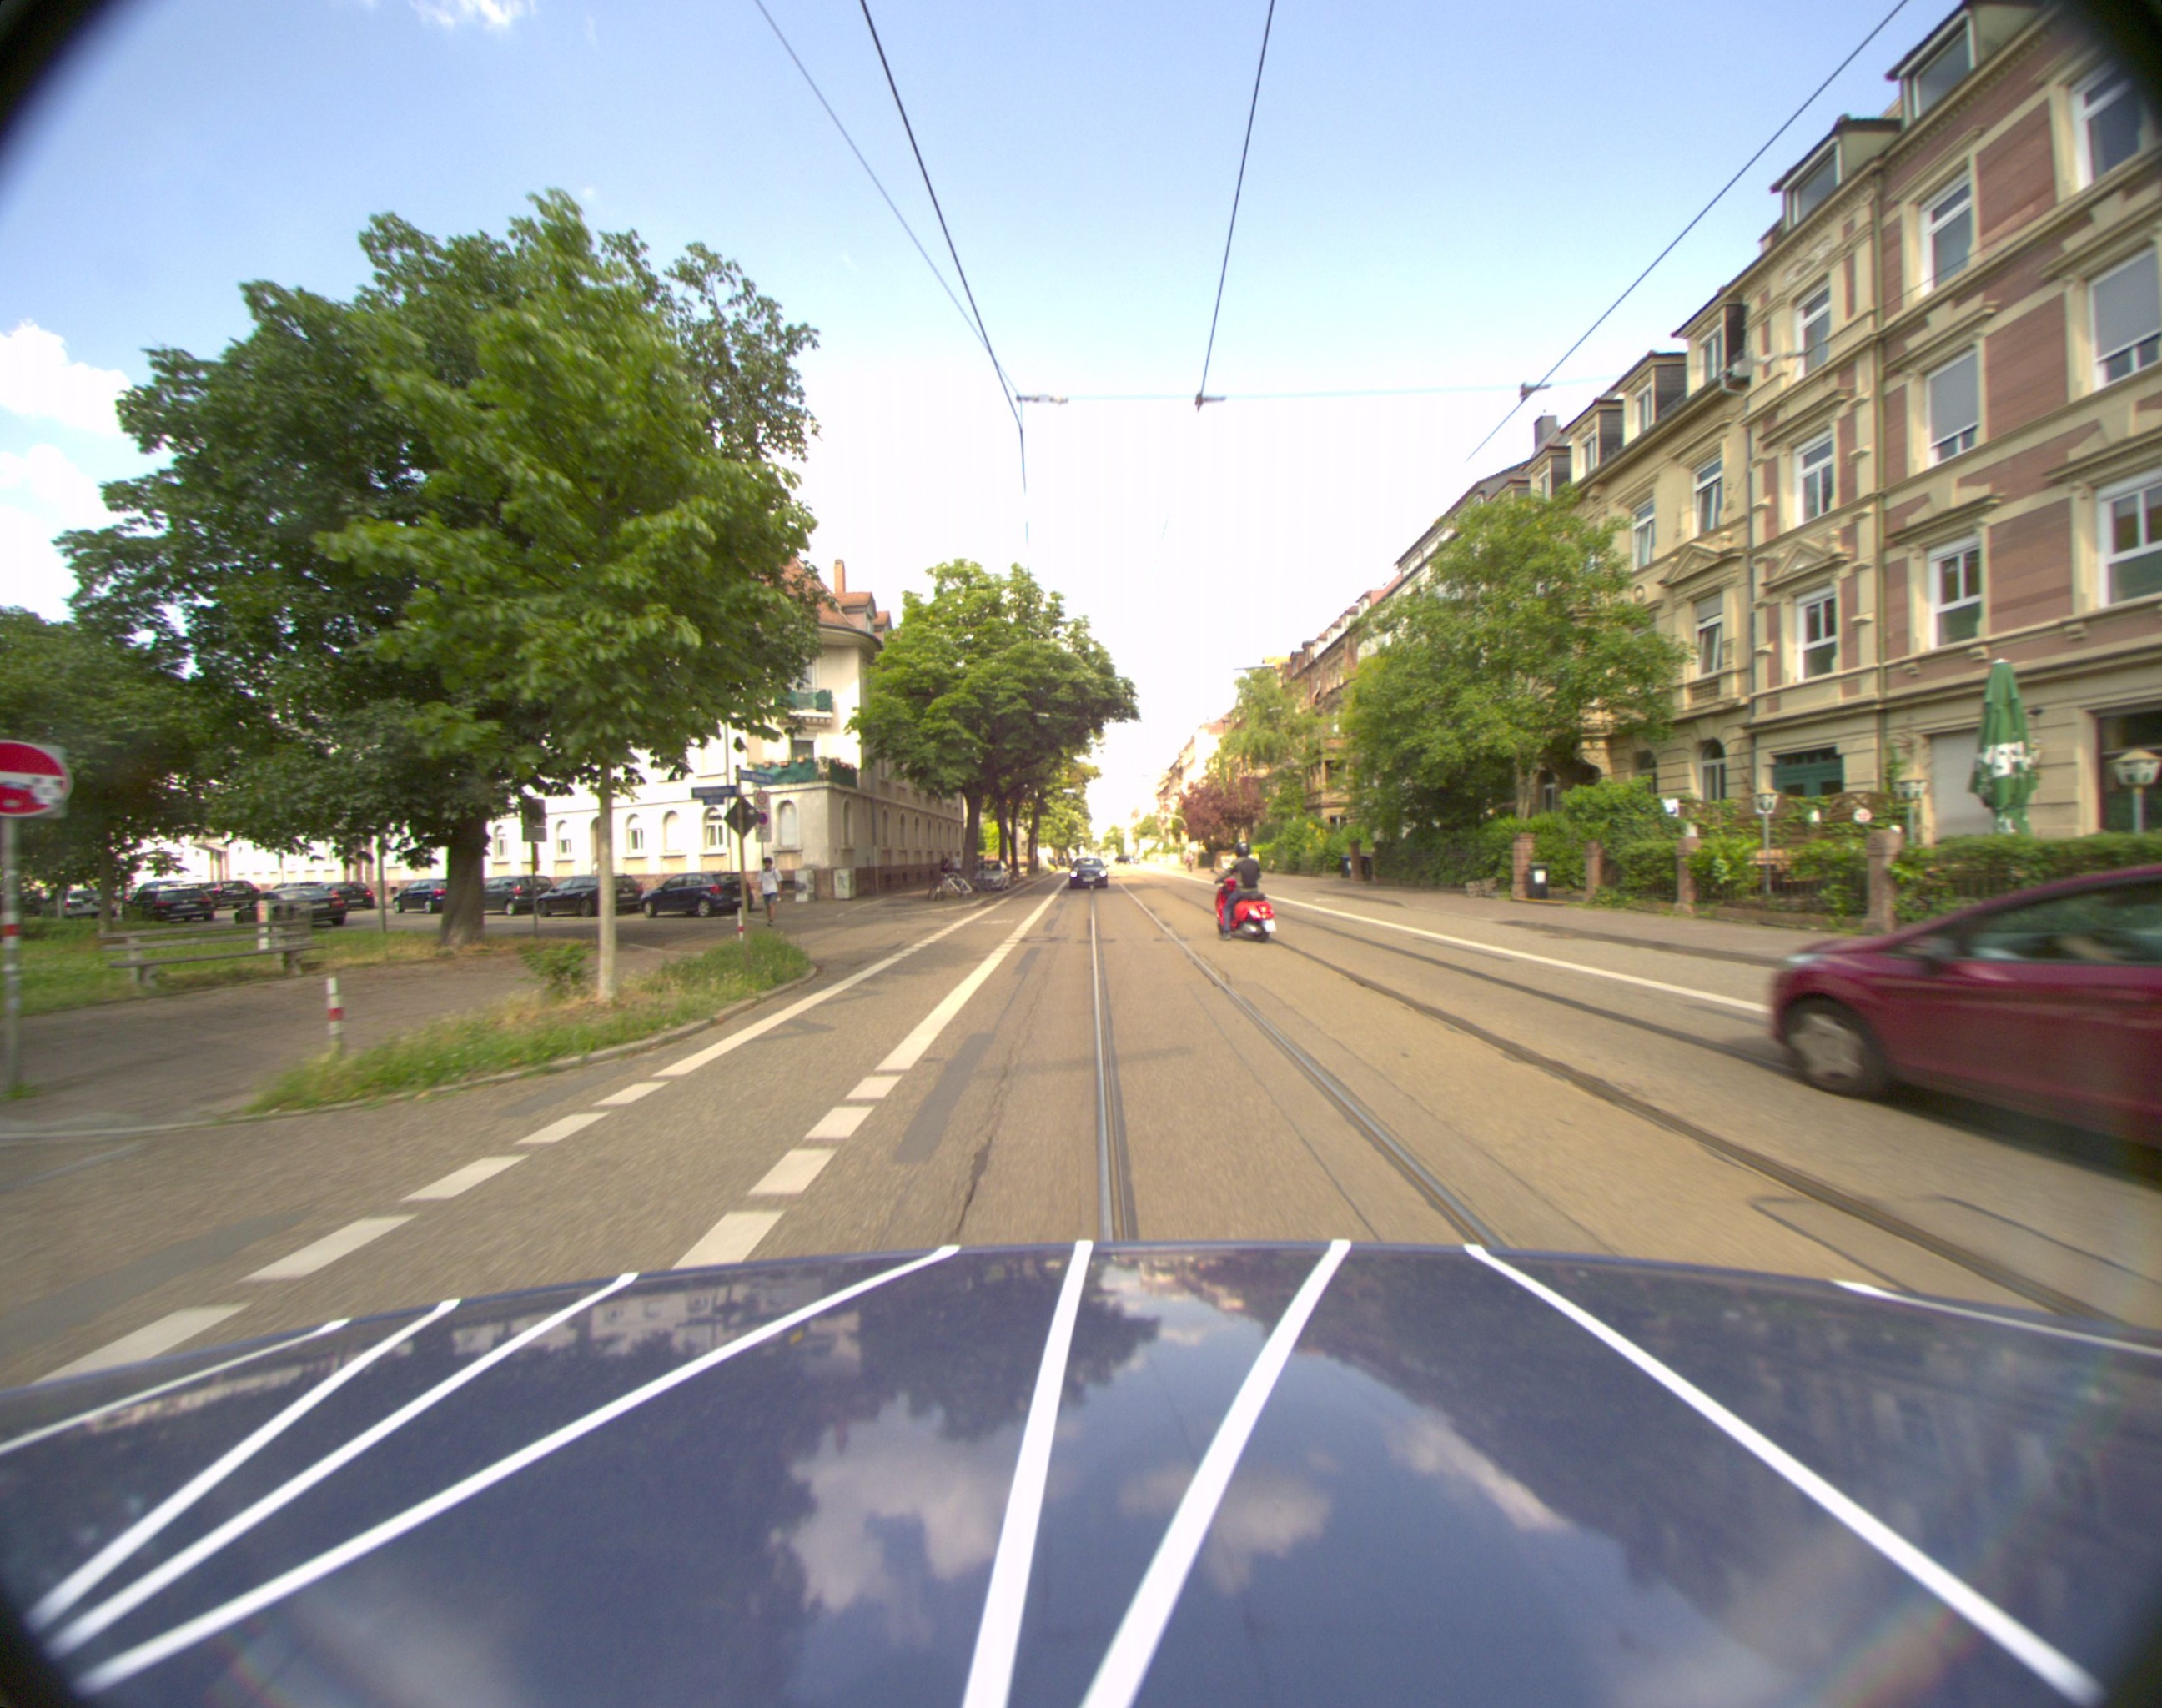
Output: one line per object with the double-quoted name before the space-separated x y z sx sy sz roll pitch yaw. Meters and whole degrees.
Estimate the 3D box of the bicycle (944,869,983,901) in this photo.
"bicycle" -4.201 1.107 27.222 1.271 1.060 0.478 -2 1 0

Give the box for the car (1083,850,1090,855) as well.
"car" 1.475 -0.398 200.547 1.693 1.380 4.000 -2 0 0

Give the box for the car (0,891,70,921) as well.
"car" -58.829 2.911 42.717 3.990 1.488 1.650 -2 1 27

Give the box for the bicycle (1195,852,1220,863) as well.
"bicycle" 11.191 0.310 67.126 2.133 0.931 0.586 -2 1 0

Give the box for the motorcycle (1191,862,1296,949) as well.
"motorcycle" 2.747 0.824 13.123 0.742 1.352 2.085 -2 1 -21

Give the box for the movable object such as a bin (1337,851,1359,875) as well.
"movable object such as a bin" 12.791 0.438 36.374 0.774 1.101 0.733 -2 1 0

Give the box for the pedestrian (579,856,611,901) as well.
"pedestrian" -20.527 1.029 32.102 0.729 1.823 0.829 -1 1 31

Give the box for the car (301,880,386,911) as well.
"car" -35.097 1.963 36.139 3.921 1.344 1.734 -1 1 28

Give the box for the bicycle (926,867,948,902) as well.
"bicycle" -5.160 1.072 27.226 0.586 1.151 1.835 -2 0 -6

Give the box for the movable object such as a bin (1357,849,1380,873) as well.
"movable object such as a bin" 13.775 0.344 36.436 0.774 1.101 0.733 -2 1 0

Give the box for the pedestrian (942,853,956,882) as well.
"pedestrian" -7.414 0.745 42.706 0.582 1.630 0.976 -2 1 1

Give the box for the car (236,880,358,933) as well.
"car" -26.778 1.747 25.947 3.921 1.503 1.733 -1 4 28

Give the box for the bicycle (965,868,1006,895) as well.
"bicycle" -4.049 1.174 32.269 1.650 1.064 0.348 -2 1 4

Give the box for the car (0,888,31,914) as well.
"car" -65.945 2.877 46.287 3.990 1.488 1.650 -2 1 27

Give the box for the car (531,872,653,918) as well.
"car" -17.381 1.440 26.987 4.245 1.443 1.734 -1 1 28

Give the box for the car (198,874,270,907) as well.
"car" -47.952 2.076 43.011 3.921 1.725 1.734 -1 1 28

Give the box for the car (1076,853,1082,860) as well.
"car" -0.603 0.779 213.139 1.694 1.831 5.028 -2 0 -1

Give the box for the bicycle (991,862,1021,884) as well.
"bicycle" -4.129 1.065 41.795 1.490 1.146 0.518 -2 1 7

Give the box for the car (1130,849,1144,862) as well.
"car" 8.244 0.214 111.932 1.715 1.718 3.736 -2 1 1

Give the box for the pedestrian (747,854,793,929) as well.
"pedestrian" -7.883 0.931 19.301 0.619 1.823 1.030 -2 1 3

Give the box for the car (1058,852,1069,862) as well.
"car" -2.828 0.432 121.633 1.693 1.537 3.617 -2 0 0

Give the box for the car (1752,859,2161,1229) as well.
"car" 5.076 0.767 2.937 1.598 1.432 3.936 0 0 2

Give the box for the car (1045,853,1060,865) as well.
"car" -3.451 0.620 91.999 1.693 1.380 4.000 -2 0 0

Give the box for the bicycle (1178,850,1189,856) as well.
"bicycle" 16.378 -0.175 121.174 1.753 0.936 0.483 0 1 -1

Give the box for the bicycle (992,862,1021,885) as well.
"bicycle" -4.040 1.045 41.199 1.490 1.214 0.518 -2 2 7

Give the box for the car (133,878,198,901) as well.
"car" -56.826 2.196 47.161 3.921 1.344 1.734 -1 1 28

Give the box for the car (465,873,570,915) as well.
"car" -22.107 1.549 29.787 3.921 1.503 1.734 -1 1 28

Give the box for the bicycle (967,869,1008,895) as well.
"bicycle" -3.927 1.176 31.902 1.650 1.064 0.348 -2 1 4

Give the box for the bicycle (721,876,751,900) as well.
"bicycle" -12.711 1.253 27.990 1.204 0.839 0.347 -2 1 28

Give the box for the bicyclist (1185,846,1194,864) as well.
"bicyclist" 8.544 0.095 59.702 0.566 1.417 0.942 -2 1 3

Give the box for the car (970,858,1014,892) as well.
"car" -4.224 0.968 36.710 1.589 1.436 3.898 -2 0 1

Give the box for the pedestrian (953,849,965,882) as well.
"pedestrian" -7.064 0.661 44.057 0.506 1.842 0.687 -2 1 1

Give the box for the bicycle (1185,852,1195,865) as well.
"bicycle" 8.546 0.325 59.662 0.570 0.984 1.918 -2 0 3

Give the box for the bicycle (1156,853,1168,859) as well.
"bicycle" 12.876 0.371 120.772 1.750 0.936 0.484 1 1 25

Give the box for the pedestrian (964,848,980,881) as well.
"pedestrian" -6.334 0.595 44.168 0.755 1.878 0.886 -2 1 1

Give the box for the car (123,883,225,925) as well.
"car" -36.735 2.013 30.775 3.990 1.488 1.650 -2 1 26

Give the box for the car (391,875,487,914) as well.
"car" -27.392 1.702 32.402 3.921 1.503 1.734 -1 1 28

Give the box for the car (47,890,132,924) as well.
"car" -48.437 2.574 37.119 3.990 1.488 1.650 -2 1 26

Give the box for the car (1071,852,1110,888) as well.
"car" 0.462 0.735 36.369 1.693 1.568 4.156 -2 0 1

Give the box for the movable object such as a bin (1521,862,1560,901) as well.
"movable object such as a bin" 11.513 0.680 19.037 0.580 0.919 0.641 -2 1 1

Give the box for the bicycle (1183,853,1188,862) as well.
"bicycle" 12.112 0.412 87.873 0.400 0.935 1.473 1 -2 3

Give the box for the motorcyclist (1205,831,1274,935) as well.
"motorcyclist" 2.728 0.477 13.146 0.742 1.704 0.919 -2 1 -21

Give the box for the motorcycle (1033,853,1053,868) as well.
"motorcycle" -3.841 0.640 76.837 0.812 1.485 2.065 -2 1 -43

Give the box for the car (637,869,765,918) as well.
"car" -12.213 1.252 24.433 3.566 1.443 1.734 -2 1 24

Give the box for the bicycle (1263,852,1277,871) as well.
"bicycle" 11.665 0.436 46.880 0.413 1.130 1.819 -2 0 1
